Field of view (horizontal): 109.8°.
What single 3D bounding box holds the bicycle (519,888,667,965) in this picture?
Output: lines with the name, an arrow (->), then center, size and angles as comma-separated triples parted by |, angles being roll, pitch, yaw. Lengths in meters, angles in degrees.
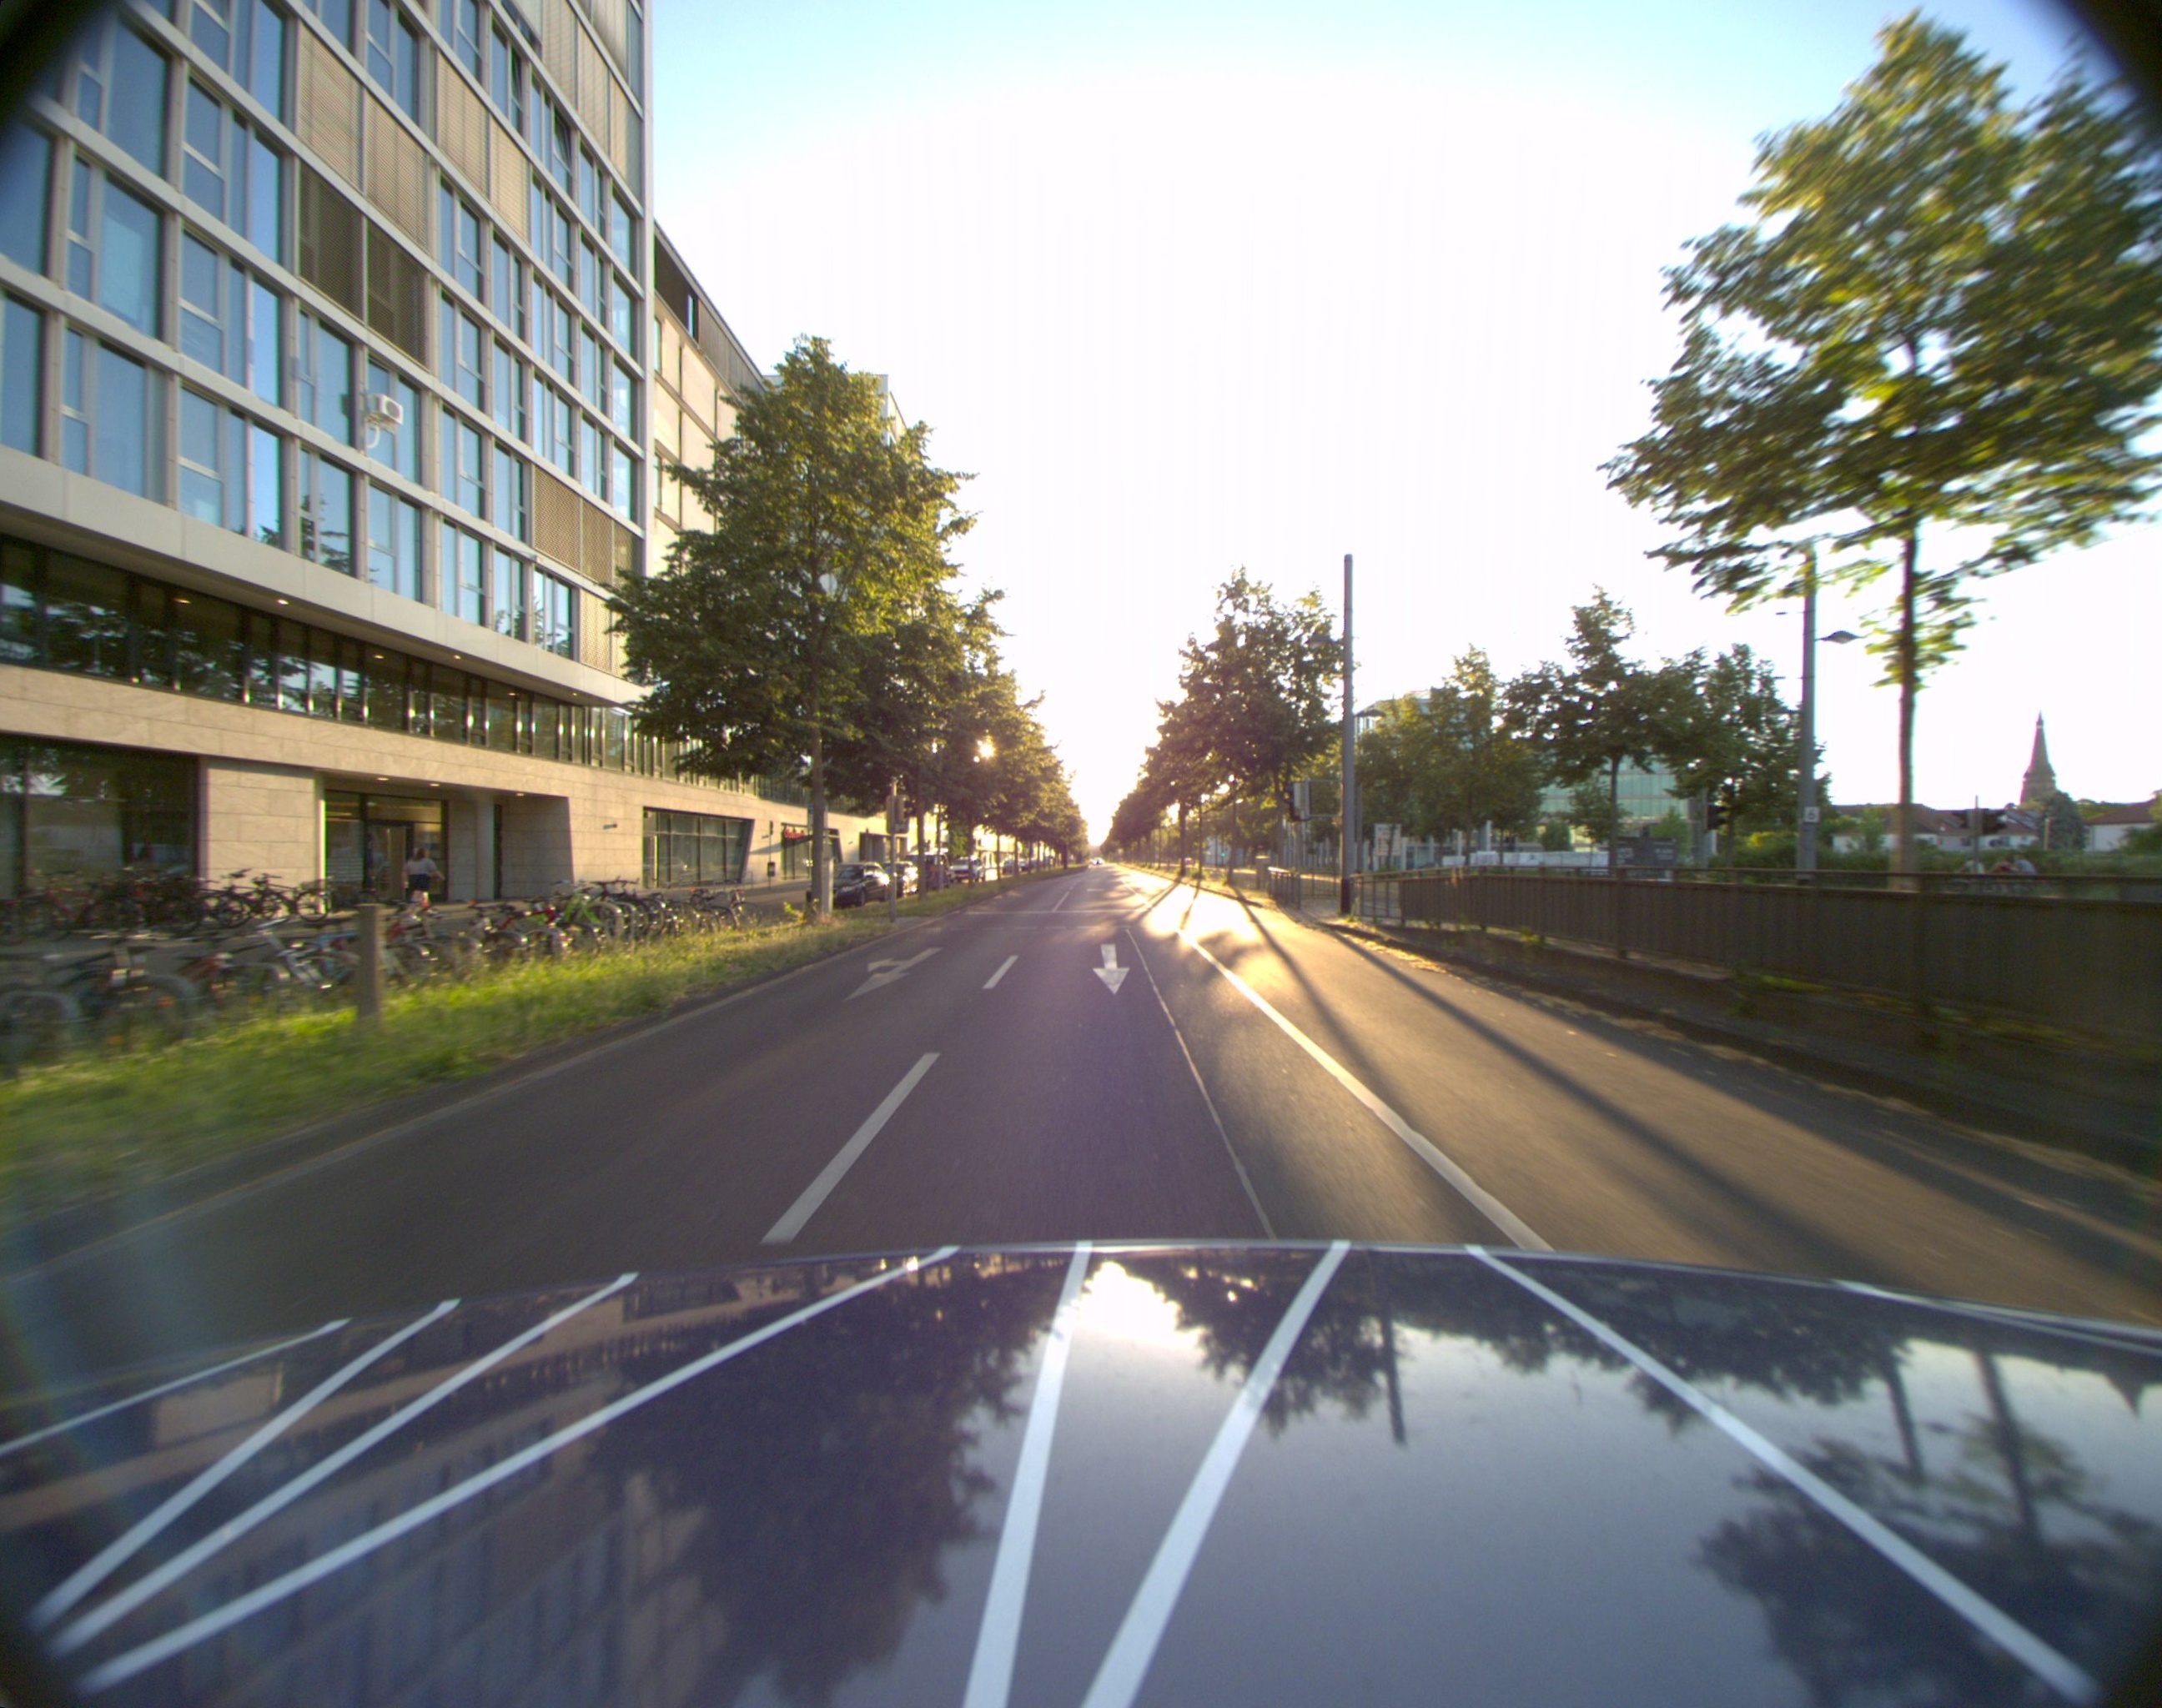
bicycle -> -7.731, 1.141, 12.092 | 1.947, 1.048, 0.408 | -4, 0, -6

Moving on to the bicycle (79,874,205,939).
bicycle -> -17.362, 0.971, 14.062 | 1.835, 1.170, 0.446 | 0, 1, 2

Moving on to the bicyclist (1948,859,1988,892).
bicyclist -> 38.226, 0.928, 32.755 | 0.621, 1.413, 0.937 | 0, 1, -1

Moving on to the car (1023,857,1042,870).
car -> -5.446, 1.033, 85.454 | 1.857, 1.359, 4.834 | 0, 0, -1

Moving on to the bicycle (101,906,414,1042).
bicycle -> -7.787, 1.113, 7.257 | 2.148, 1.048, 0.571 | -4, 0, -5

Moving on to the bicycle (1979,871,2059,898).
bicycle -> 37.700, 1.213, 30.581 | 0.621, 1.005, 2.083 | 0, 0, -1

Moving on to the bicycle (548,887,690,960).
bicycle -> -7.596, 1.133, 12.541 | 1.947, 1.048, 0.408 | -4, 0, -6

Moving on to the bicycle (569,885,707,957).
bicycle -> -7.586, 1.139, 13.071 | 1.947, 1.048, 0.545 | -4, 0, -6

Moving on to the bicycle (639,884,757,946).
bicycle -> -7.601, 1.194, 15.155 | 1.949, 1.048, 0.544 | -4, 0, -13

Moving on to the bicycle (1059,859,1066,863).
bicycle -> -4.181, 1.537, 173.822 | 1.718, 0.905, 0.363 | 0, 0, 34

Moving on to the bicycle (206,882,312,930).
bicycle -> -17.350, 1.096, 16.039 | 1.835, 0.981, 0.404 | 0, 0, 2

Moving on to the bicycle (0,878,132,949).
bicycle -> -17.393, 1.001, 12.903 | 1.835, 1.170, 0.503 | 0, 0, -2

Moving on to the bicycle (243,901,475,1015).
bicycle -> -7.836, 1.111, 8.292 | 1.947, 1.048, 0.404 | -4, 0, -5

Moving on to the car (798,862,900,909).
car -> -7.676, 0.991, 25.645 | 1.873, 1.403, 4.646 | 0, 0, 2

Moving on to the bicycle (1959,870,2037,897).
bicycle -> 36.901, 1.181, 30.617 | 0.621, 1.005, 2.083 | 0, 0, -1

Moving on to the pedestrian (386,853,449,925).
pedestrian -> -15.630, 0.804, 17.925 | 0.644, 1.638, 0.953 | 0, 0, 0

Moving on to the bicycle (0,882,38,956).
bicycle -> -17.410, 1.004, 11.796 | 1.835, 1.118, 0.372 | 0, 1, -2

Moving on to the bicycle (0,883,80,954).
bicycle -> -17.479, 1.027, 12.285 | 1.835, 1.106, 0.503 | 0, 0, -2

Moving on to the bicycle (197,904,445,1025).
bicycle -> -7.783, 1.116, 7.828 | 1.947, 1.048, 0.404 | -4, 0, -5

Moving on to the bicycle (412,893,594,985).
bicycle -> -7.715, 1.127, 10.186 | 1.947, 1.048, 0.414 | -4, 0, -6

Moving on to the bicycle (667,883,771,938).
bicycle -> -7.886, 1.219, 16.599 | 1.946, 1.048, 0.545 | -4, 0, 1

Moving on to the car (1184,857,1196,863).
car -> 24.093, 1.308, 167.613 | 1.907, 1.477, 4.631 | 0, 0, -1

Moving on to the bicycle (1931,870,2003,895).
bicycle -> 38.248, 1.208, 32.843 | 0.621, 1.005, 2.083 | 0, 0, -1

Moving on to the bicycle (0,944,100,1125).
bicycle -> -7.721, 1.201, 4.781 | 2.148, 1.048, 0.525 | -4, 0, -5

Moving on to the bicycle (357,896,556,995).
bicycle -> -7.736, 1.119, 9.457 | 1.947, 1.048, 0.414 | -4, 0, -6

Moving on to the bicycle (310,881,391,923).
bicycle -> -17.490, 1.134, 18.211 | 1.579, 0.981, 0.404 | 0, 0, 2

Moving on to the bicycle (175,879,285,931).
bicycle -> -17.431, 1.038, 15.573 | 1.835, 1.051, 0.404 | 0, 1, 2

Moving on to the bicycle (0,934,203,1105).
bicycle -> -7.674, 1.192, 5.342 | 2.148, 1.048, 0.525 | -4, 0, -5

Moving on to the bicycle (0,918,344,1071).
bicycle -> -7.787, 1.172, 6.537 | 2.148, 1.048, 0.562 | -4, 0, -5

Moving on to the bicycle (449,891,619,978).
bicycle -> -7.710, 1.122, 10.767 | 1.947, 1.048, 0.414 | -4, 0, -6

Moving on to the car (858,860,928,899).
car -> -7.743, 0.994, 31.680 | 1.814, 1.463, 4.665 | 0, 0, -1

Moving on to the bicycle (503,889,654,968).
bicycle -> -7.713, 1.135, 11.699 | 1.947, 1.048, 0.314 | -4, 0, -6

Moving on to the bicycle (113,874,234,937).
bicycle -> -17.392, 0.978, 14.571 | 1.835, 1.170, 0.446 | 0, 1, 2

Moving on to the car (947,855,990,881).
car -> -7.392, 0.897, 50.391 | 1.998, 1.633, 4.879 | 0, 0, 2

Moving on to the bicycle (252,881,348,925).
bicycle -> -17.346, 1.086, 16.877 | 1.748, 0.947, 0.404 | 0, 0, 2

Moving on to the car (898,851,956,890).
car -> -7.618, 0.773, 37.930 | 1.999, 1.841, 4.665 | 0, 0, -1

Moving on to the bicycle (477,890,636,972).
bicycle -> -7.751, 1.129, 11.267 | 1.947, 1.048, 0.347 | -4, 0, -6

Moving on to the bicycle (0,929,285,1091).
bicycle -> -7.691, 1.209, 5.925 | 2.148, 1.048, 0.571 | -4, 0, -5

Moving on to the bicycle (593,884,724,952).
bicycle -> -7.587, 1.141, 13.710 | 1.948, 1.048, 0.545 | -4, 0, -9

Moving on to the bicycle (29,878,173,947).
bicycle -> -17.367, 1.029, 13.481 | 1.835, 1.170, 0.503 | 0, 0, -2

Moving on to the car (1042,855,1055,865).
car -> -5.518, 1.026, 129.569 | 1.843, 1.561, 4.061 | -1, 0, 0

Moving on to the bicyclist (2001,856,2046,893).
bicyclist -> 37.719, 0.809, 30.412 | 0.621, 1.448, 0.937 | 0, 1, -1

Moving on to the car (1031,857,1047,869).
car -> -5.773, 1.204, 104.793 | 1.785, 1.485, 4.000 | -3, 0, 1

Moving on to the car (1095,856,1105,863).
car -> 3.950, 1.093, 158.546 | 1.998, 1.473, 4.336 | 0, -1, 1

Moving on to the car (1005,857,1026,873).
car -> -6.405, 1.044, 74.696 | 1.714, 1.506, 3.759 | -2, 0, 0

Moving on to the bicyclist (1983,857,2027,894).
bicyclist -> 36.909, 0.834, 30.364 | 0.621, 1.448, 0.937 | 0, 1, -1

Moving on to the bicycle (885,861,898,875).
bicycle -> -14.507, 1.065, 58.141 | 0.471, 1.033, 1.807 | 0, 0, 2

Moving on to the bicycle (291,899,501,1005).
bicycle -> -7.885, 1.115, 8.782 | 1.947, 1.048, 0.404 | -4, 0, -2

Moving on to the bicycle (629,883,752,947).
bicycle -> -7.407, 1.143, 14.479 | 1.949, 1.048, 0.544 | -4, 0, -13

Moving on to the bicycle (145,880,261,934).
bicycle -> -17.417, 1.037, 15.086 | 1.835, 1.041, 0.446 | 0, 0, 2

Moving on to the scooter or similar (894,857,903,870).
scooter or similar -> -16.720, 0.877, 69.448 | 0.473, 1.204, 1.229 | 0, 0, 2
